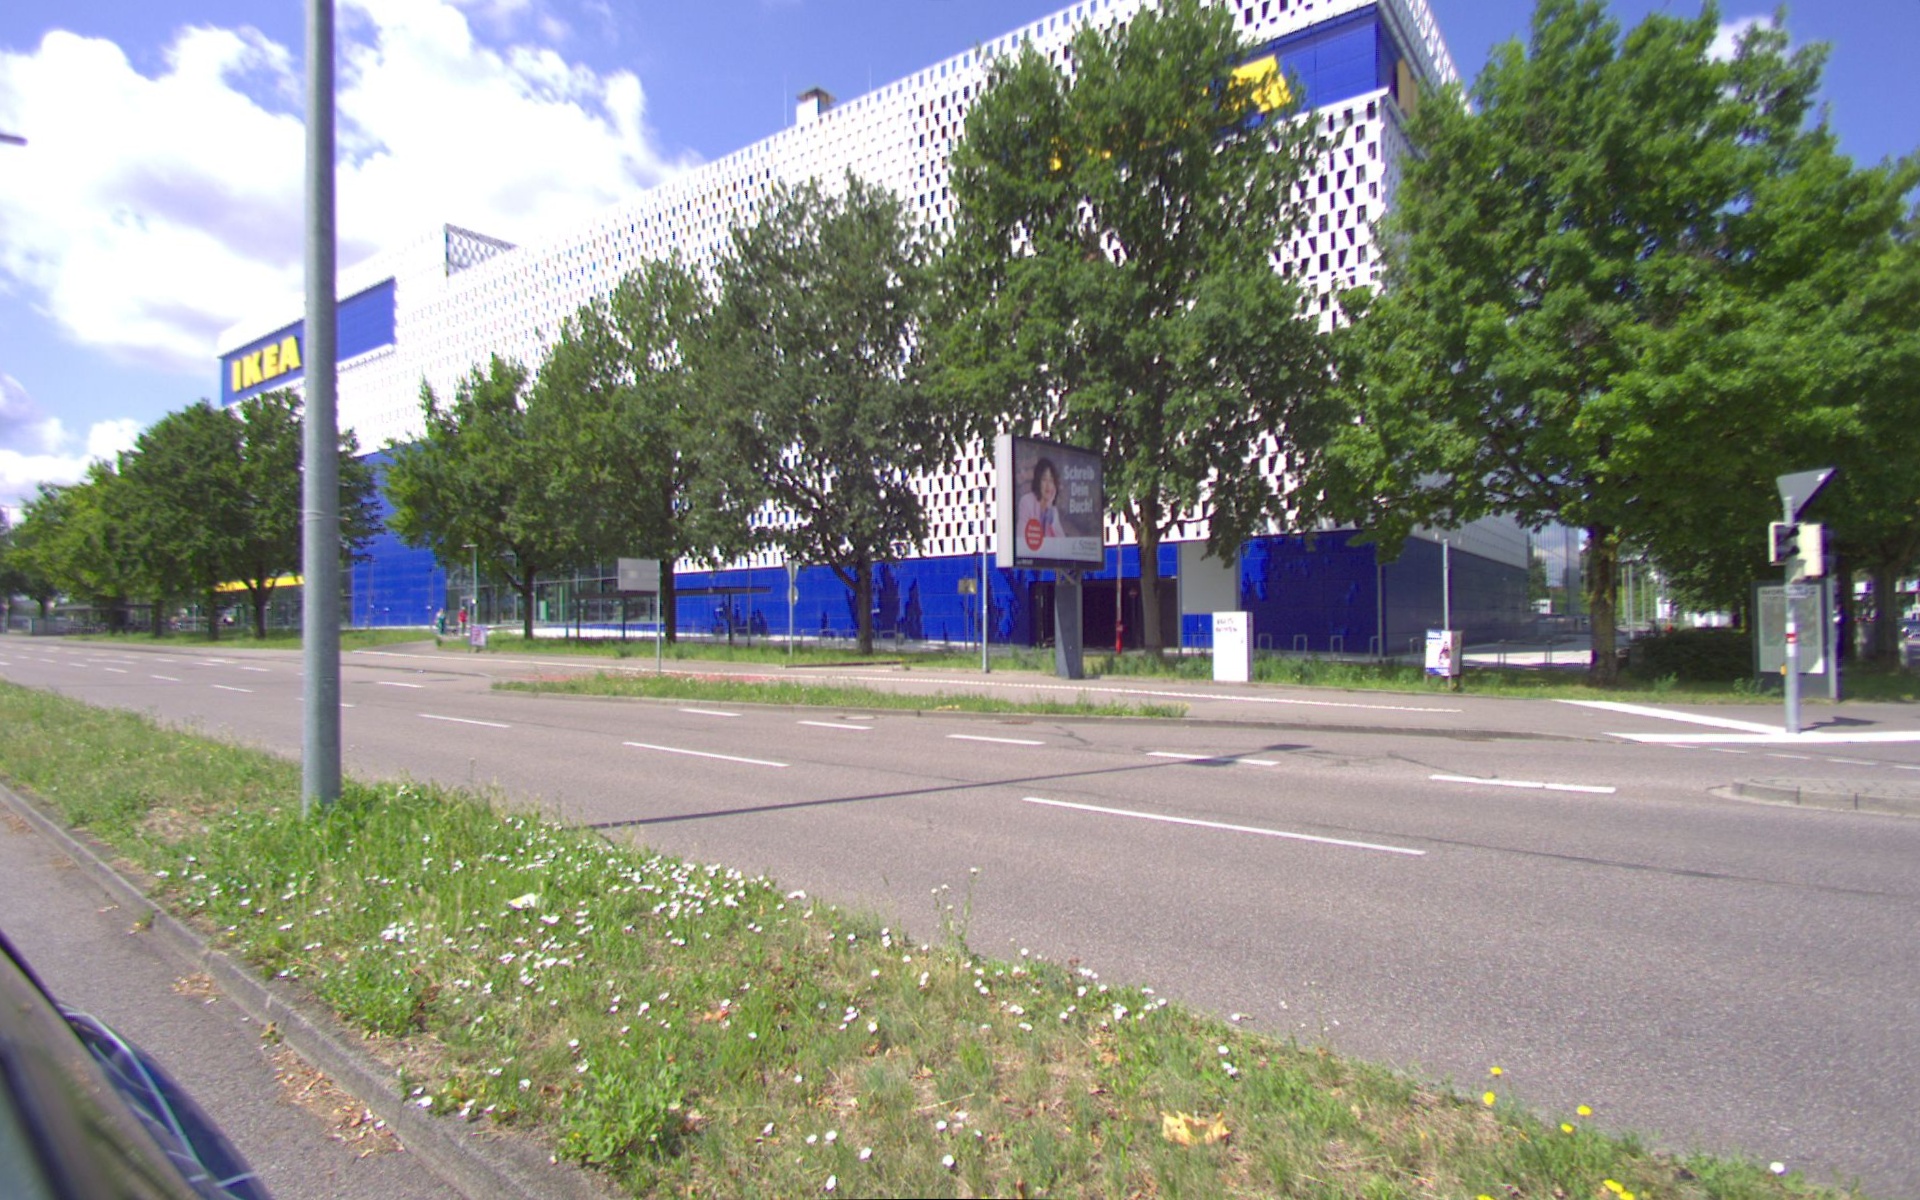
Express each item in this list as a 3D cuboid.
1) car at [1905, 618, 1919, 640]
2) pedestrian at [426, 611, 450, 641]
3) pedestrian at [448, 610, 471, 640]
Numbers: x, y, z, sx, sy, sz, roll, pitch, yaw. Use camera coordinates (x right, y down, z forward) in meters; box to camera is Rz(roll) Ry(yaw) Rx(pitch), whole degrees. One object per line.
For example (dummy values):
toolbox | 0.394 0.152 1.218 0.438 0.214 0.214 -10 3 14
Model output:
car | 71.983 2.158 75.577 1.896 1.567 4.523 -2 -2 42
pedestrian | -30.694 1.518 59.503 1.165 1.741 0.842 -1 0 43
pedestrian | -29.818 1.505 60.297 1.165 1.741 0.842 -1 0 43
